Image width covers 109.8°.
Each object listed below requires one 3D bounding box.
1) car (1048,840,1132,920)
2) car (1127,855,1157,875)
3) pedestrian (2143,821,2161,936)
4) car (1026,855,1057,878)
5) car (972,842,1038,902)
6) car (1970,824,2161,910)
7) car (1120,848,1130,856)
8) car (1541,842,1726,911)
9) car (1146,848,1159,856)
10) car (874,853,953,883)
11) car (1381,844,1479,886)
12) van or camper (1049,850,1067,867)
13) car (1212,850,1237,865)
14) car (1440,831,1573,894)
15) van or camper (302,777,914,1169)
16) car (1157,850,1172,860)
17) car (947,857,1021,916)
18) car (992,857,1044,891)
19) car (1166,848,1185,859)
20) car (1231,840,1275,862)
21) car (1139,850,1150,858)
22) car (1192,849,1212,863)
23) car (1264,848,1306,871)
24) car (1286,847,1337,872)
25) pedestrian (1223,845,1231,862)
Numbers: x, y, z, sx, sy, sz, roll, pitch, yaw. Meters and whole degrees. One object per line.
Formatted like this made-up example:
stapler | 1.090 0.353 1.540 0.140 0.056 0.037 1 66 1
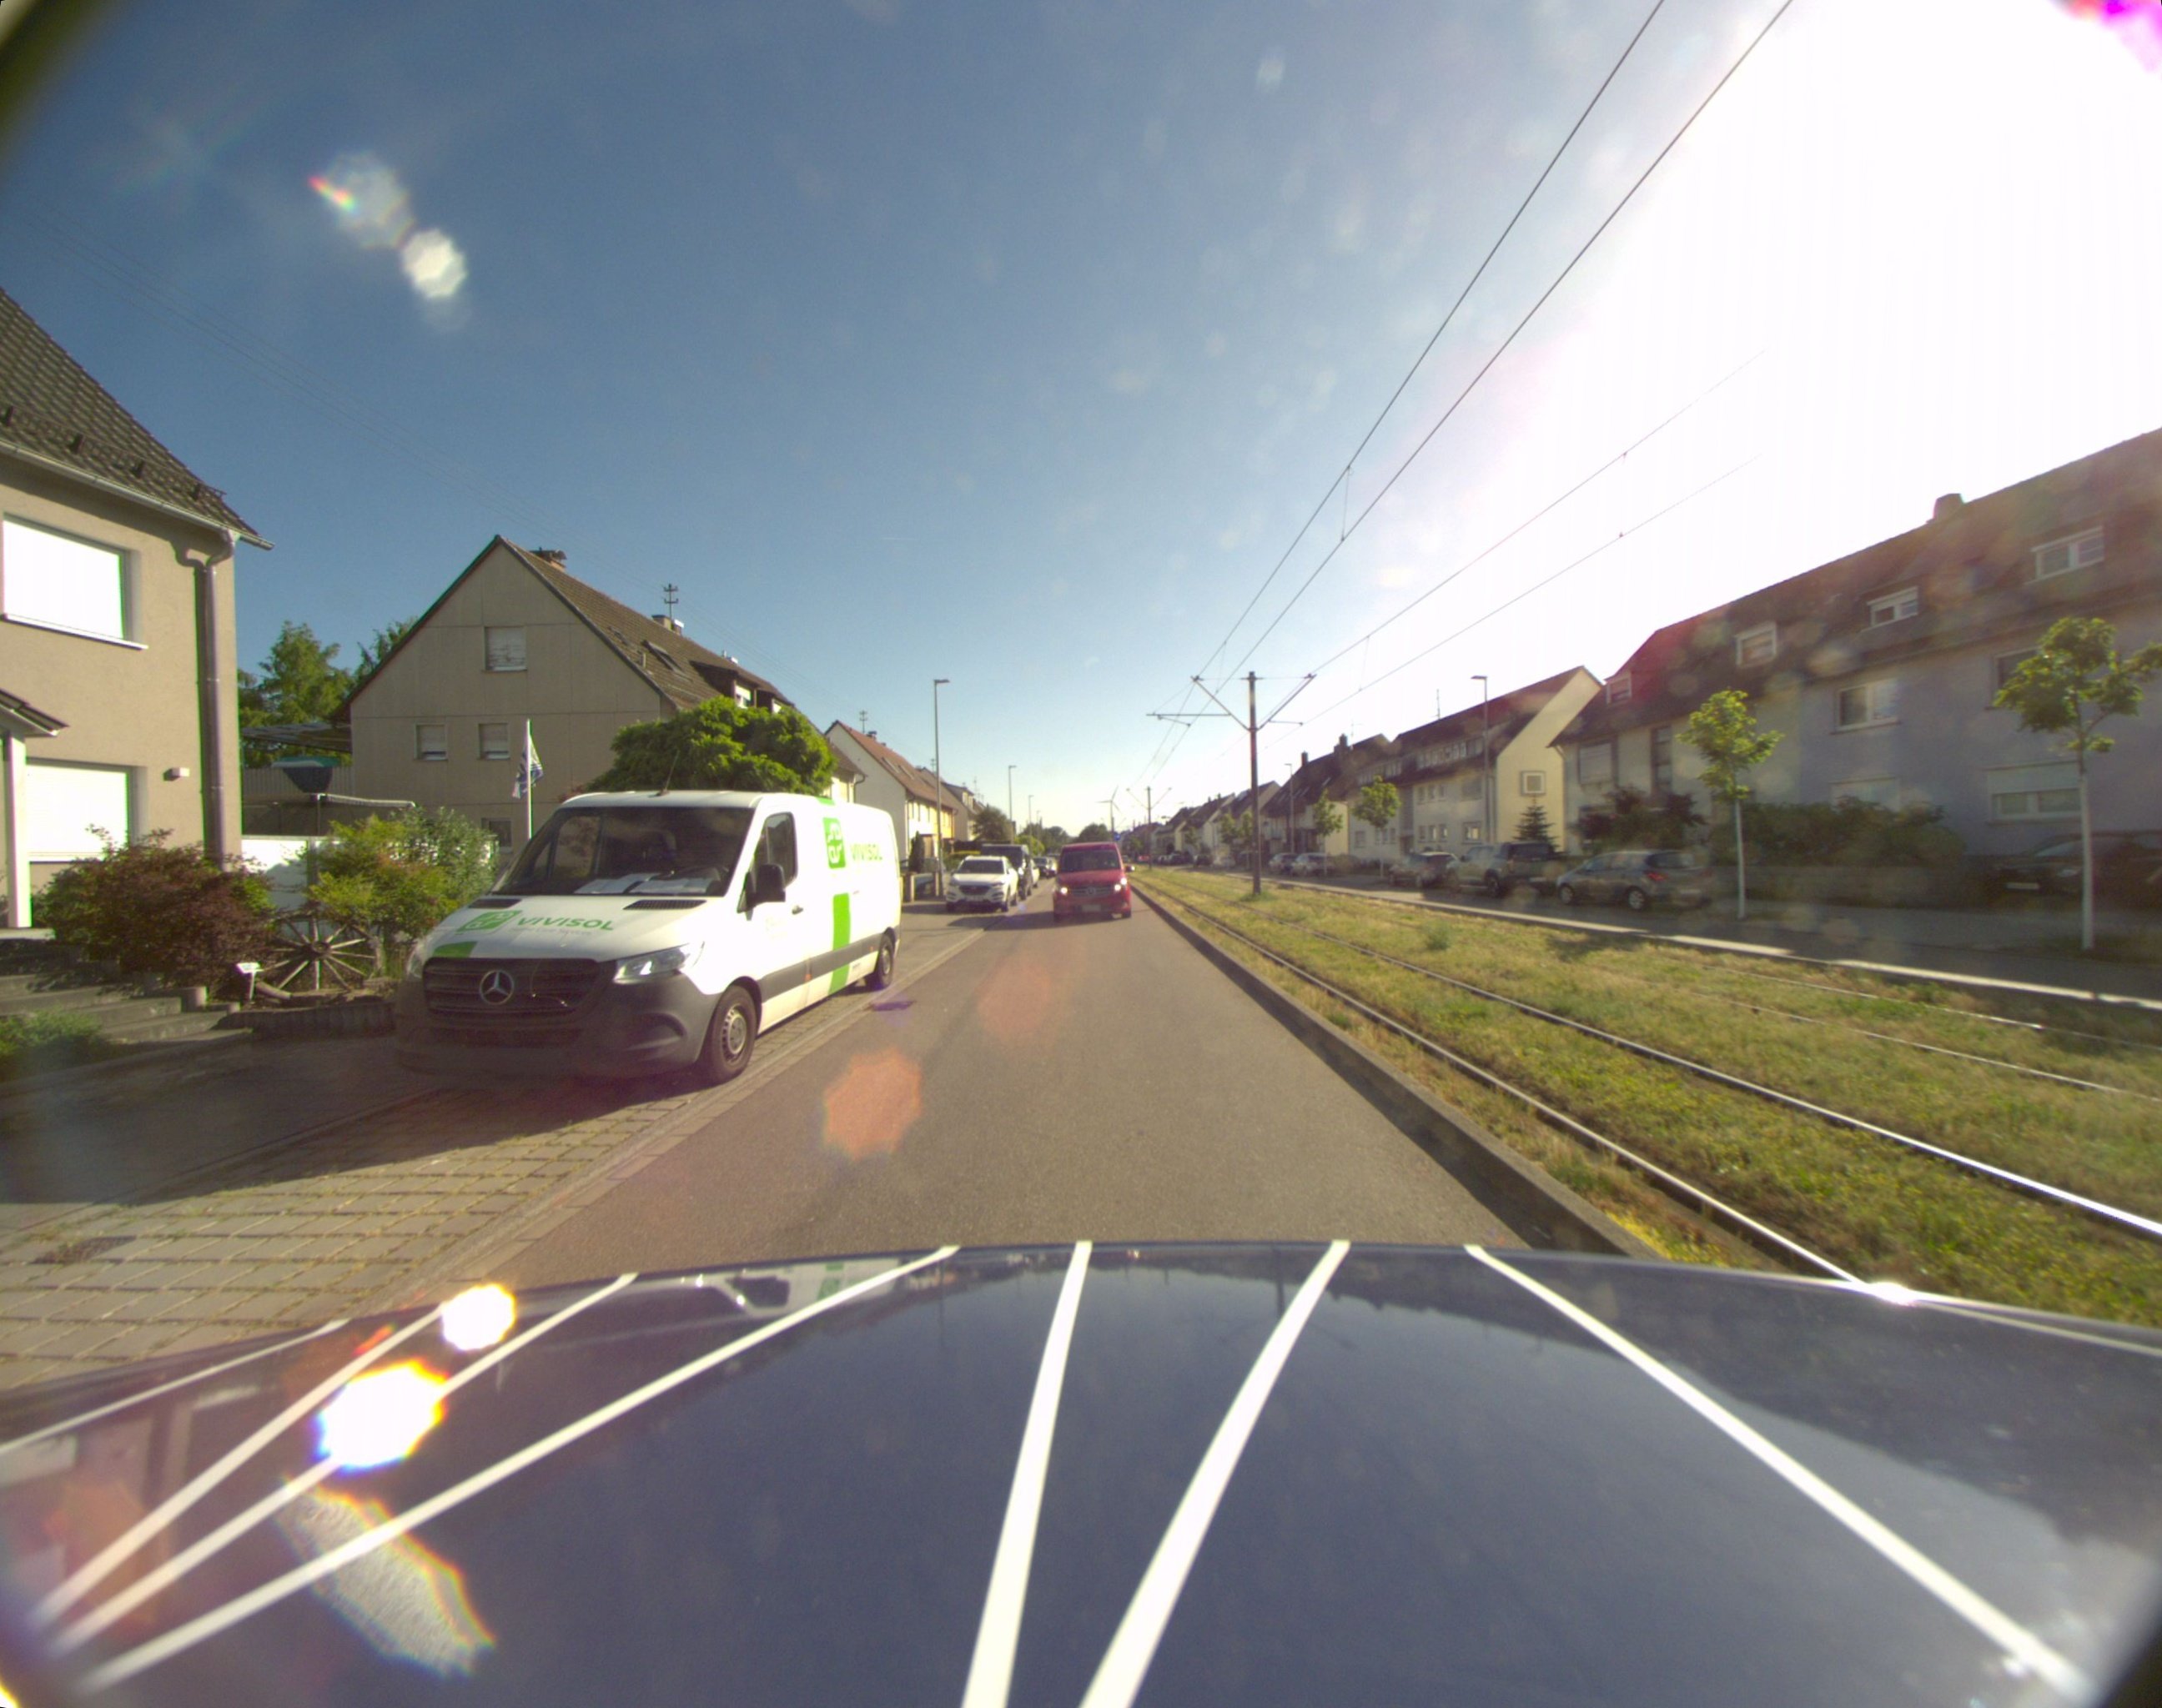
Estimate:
car | 0.186 0.606 21.367 1.999 1.889 5.389 -2 1 -1
car | 5.103 0.893 63.848 1.862 1.592 4.327 1 1 -3
pedestrian | 15.649 0.338 10.478 0.697 1.631 0.919 -3 1 -1
car | -2.695 0.809 53.351 1.782 1.490 4.728 -1 0 1
car | -2.855 0.624 29.768 1.964 2.132 5.335 0 1 1
car | 20.369 0.215 15.088 3.642 1.453 1.691 -3 1 -4
car | 8.752 -0.356 151.939 1.693 1.467 3.679 -3 1 -1
car | 13.918 0.507 19.461 1.680 1.482 4.049 -3 1 -1
car | 12.822 -0.349 136.536 1.704 1.389 4.091 -3 1 -1
car | -10.397 0.848 47.402 4.426 1.645 2.196 -2 1 -3
car | 14.362 0.383 31.587 1.965 1.531 4.556 -3 1 1
van or camper | -2.658 0.473 87.729 1.954 1.836 5.581 0 1 -1
car | 14.508 0.327 77.090 1.662 1.428 4.102 -2 0 -1
car | 14.028 0.255 25.425 1.749 1.812 4.841 -3 0 1
van or camper | -3.412 0.645 7.525 1.998 2.258 6.304 0 1 1
car | 13.361 0.142 121.843 1.658 1.447 4.400 -3 1 -1
car | -2.955 0.929 23.976 1.730 1.636 4.318 0 1 1
car | -2.938 0.897 36.651 1.857 1.435 5.613 1 0 2
car | 13.806 -0.093 111.347 1.926 1.551 4.857 -3 1 -1
car | 19.368 -0.324 85.599 4.472 2.069 1.787 -5 1 1
car | 12.372 -0.032 148.190 1.832 1.522 4.091 -3 1 -1
car | 14.313 0.214 89.926 1.623 1.503 4.085 -3 0 1
car | 14.441 0.329 54.004 1.693 1.464 4.313 -3 1 -1
car | 14.428 0.309 47.793 1.693 1.467 4.442 -3 1 -1
pedestrian | 16.044 -0.090 83.534 0.617 1.805 0.678 -3 1 -9
